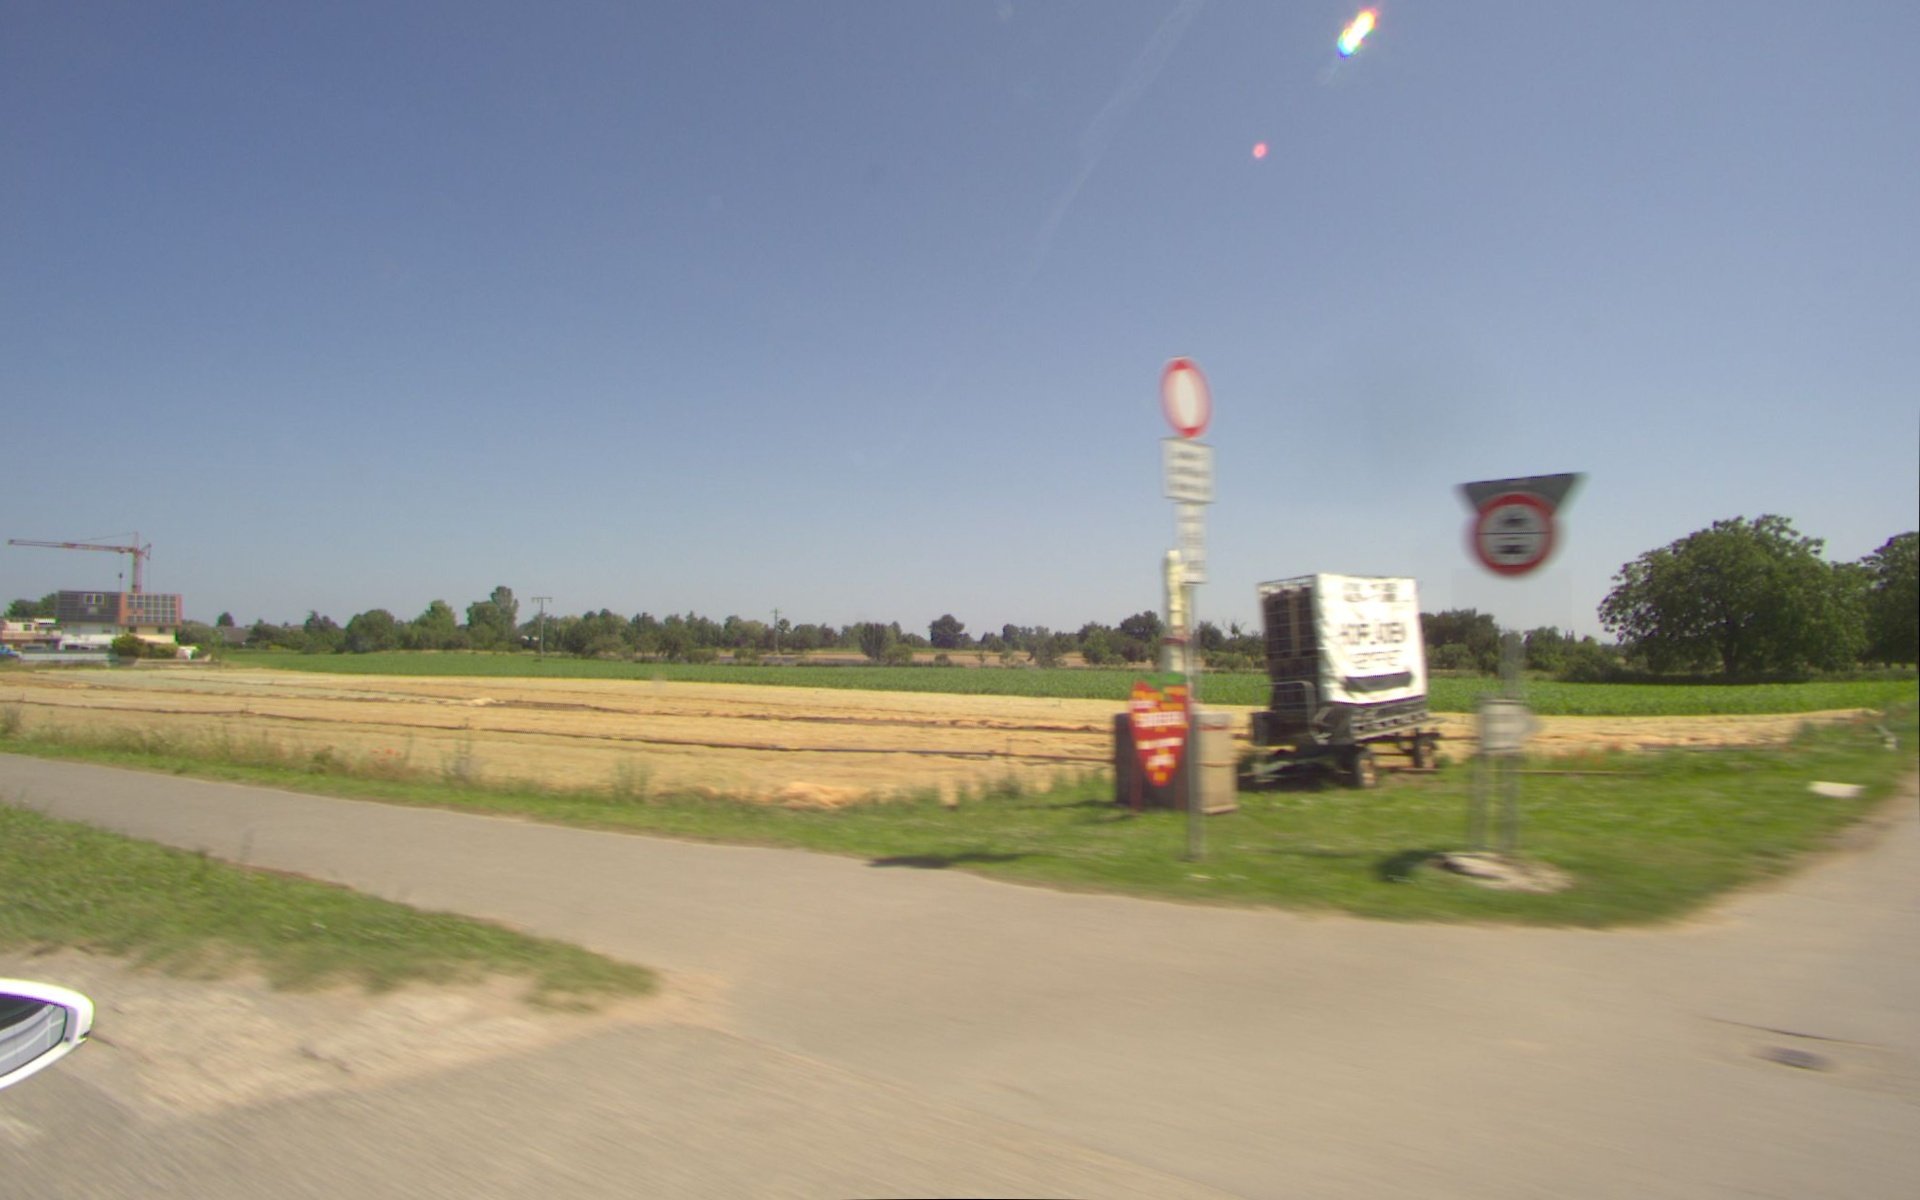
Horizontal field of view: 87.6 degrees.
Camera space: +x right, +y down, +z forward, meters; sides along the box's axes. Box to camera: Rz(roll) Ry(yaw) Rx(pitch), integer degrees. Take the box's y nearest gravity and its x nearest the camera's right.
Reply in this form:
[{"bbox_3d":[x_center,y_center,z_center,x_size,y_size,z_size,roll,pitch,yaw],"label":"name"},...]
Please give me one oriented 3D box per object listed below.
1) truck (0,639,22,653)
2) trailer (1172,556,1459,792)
[{"bbox_3d":[-156.760,7.489,163.206,5.511,2.258,2.197,2,-3,-40],"label":"truck"},{"bbox_3d":[5.573,1.069,15.267,5.246,2.988,1.981,2,-4,-45],"label":"trailer"}]
